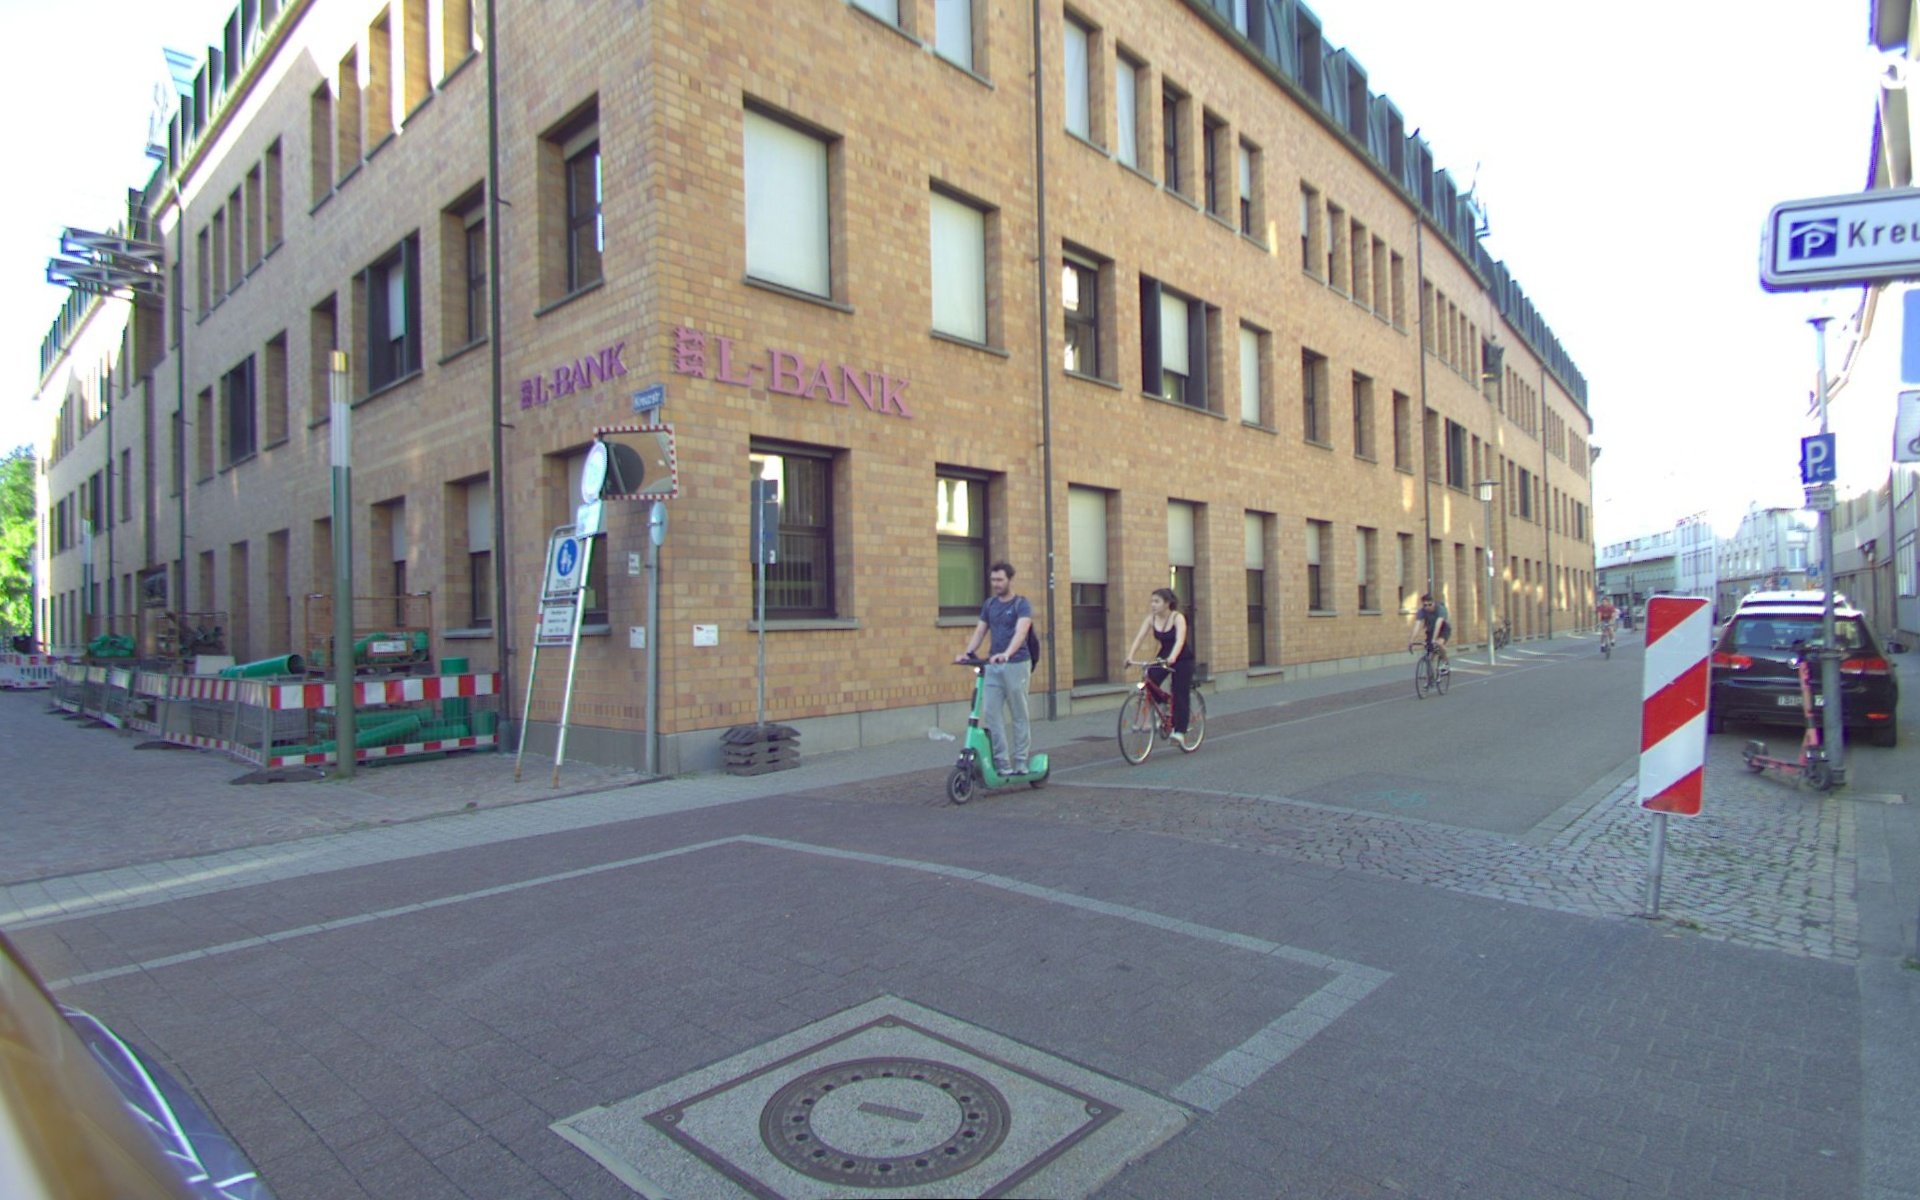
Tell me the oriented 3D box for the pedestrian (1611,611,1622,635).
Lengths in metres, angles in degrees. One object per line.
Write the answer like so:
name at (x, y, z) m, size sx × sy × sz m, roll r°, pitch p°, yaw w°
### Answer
pedestrian at (42.445, 1.488, 65.412) m, size 0.543 × 1.556 × 0.399 m, roll -1°, pitch -1°, yaw 40°

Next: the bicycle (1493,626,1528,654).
bicycle at (19.042, 1.359, 34.999) m, size 0.642 × 0.888 × 2.524 m, roll -1°, pitch -1°, yaw 38°

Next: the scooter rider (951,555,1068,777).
scooter rider at (0.411, 0.532, 8.398) m, size 0.691 × 1.739 × 0.650 m, roll 1°, pitch -3°, yaw -42°

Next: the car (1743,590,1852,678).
car at (17.948, 0.668, 21.671) m, size 1.673 × 1.717 × 3.958 m, roll 0°, pitch 0°, yaw 41°

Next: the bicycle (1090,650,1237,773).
bicycle at (2.088, 1.081, 10.218) m, size 0.591 × 1.060 × 1.776 m, roll -5°, pitch -3°, yaw 41°

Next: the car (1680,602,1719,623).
car at (60.798, 1.035, 83.224) m, size 1.926 × 1.663 × 3.801 m, roll -2°, pitch -1°, yaw 27°

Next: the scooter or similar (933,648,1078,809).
scooter or similar at (0.391, 1.013, 8.298) m, size 1.259 × 1.195 × 0.337 m, roll 1°, pitch -5°, yaw -42°

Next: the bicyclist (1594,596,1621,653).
bicyclist at (17.572, 0.656, 27.466) m, size 0.428 × 1.509 × 0.864 m, roll -5°, pitch -4°, yaw 39°

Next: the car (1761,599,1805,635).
car at (42.283, 0.835, 52.027) m, size 1.692 × 1.789 × 3.608 m, roll 0°, pitch 0°, yaw 39°

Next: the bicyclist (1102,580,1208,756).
bicyclist at (1.965, 0.670, 10.183) m, size 0.620 × 1.679 × 0.812 m, roll -6°, pitch -4°, yaw 42°

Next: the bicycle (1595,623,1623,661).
bicycle at (17.631, 1.136, 27.486) m, size 0.436 × 0.964 × 1.570 m, roll -2°, pitch -2°, yaw 40°

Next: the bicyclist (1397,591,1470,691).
bicyclist at (7.831, 0.672, 16.726) m, size 1.093 × 1.570 × 0.650 m, roll 0°, pitch -5°, yaw -45°

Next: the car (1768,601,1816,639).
car at (38.892, 0.904, 47.357) m, size 1.692 × 1.692 × 3.461 m, roll 0°, pitch 0°, yaw 39°

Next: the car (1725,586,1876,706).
car at (13.379, 0.643, 16.106) m, size 1.673 × 1.674 × 4.025 m, roll 0°, pitch 0°, yaw 41°

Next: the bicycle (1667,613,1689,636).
bicycle at (38.260, 1.304, 53.937) m, size 0.704 × 1.112 × 1.803 m, roll -7°, pitch -5°, yaw 40°

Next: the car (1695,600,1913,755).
car at (9.956, 0.762, 11.966) m, size 1.740 × 1.497 × 3.759 m, roll 0°, pitch 1°, yaw 41°

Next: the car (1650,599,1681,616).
car at (68.167, 0.714, 97.799) m, size 1.926 × 1.663 × 3.801 m, roll -1°, pitch -1°, yaw 27°

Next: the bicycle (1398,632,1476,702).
bicycle at (7.906, 1.085, 16.737) m, size 0.574 × 1.059 × 1.810 m, roll -6°, pitch -4°, yaw 43°

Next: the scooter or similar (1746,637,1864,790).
scooter or similar at (7.060, 0.918, 8.487) m, size 0.205 × 1.193 × 0.882 m, roll -1°, pitch -2°, yaw 1°

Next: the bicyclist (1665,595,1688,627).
bicyclist at (38.206, 0.577, 53.979) m, size 0.772 × 1.668 × 0.944 m, roll -6°, pitch -4°, yaw 41°

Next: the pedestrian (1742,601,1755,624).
pedestrian at (51.204, 0.811, 65.745) m, size 0.570 × 1.490 × 0.468 m, roll -2°, pitch -2°, yaw 34°
